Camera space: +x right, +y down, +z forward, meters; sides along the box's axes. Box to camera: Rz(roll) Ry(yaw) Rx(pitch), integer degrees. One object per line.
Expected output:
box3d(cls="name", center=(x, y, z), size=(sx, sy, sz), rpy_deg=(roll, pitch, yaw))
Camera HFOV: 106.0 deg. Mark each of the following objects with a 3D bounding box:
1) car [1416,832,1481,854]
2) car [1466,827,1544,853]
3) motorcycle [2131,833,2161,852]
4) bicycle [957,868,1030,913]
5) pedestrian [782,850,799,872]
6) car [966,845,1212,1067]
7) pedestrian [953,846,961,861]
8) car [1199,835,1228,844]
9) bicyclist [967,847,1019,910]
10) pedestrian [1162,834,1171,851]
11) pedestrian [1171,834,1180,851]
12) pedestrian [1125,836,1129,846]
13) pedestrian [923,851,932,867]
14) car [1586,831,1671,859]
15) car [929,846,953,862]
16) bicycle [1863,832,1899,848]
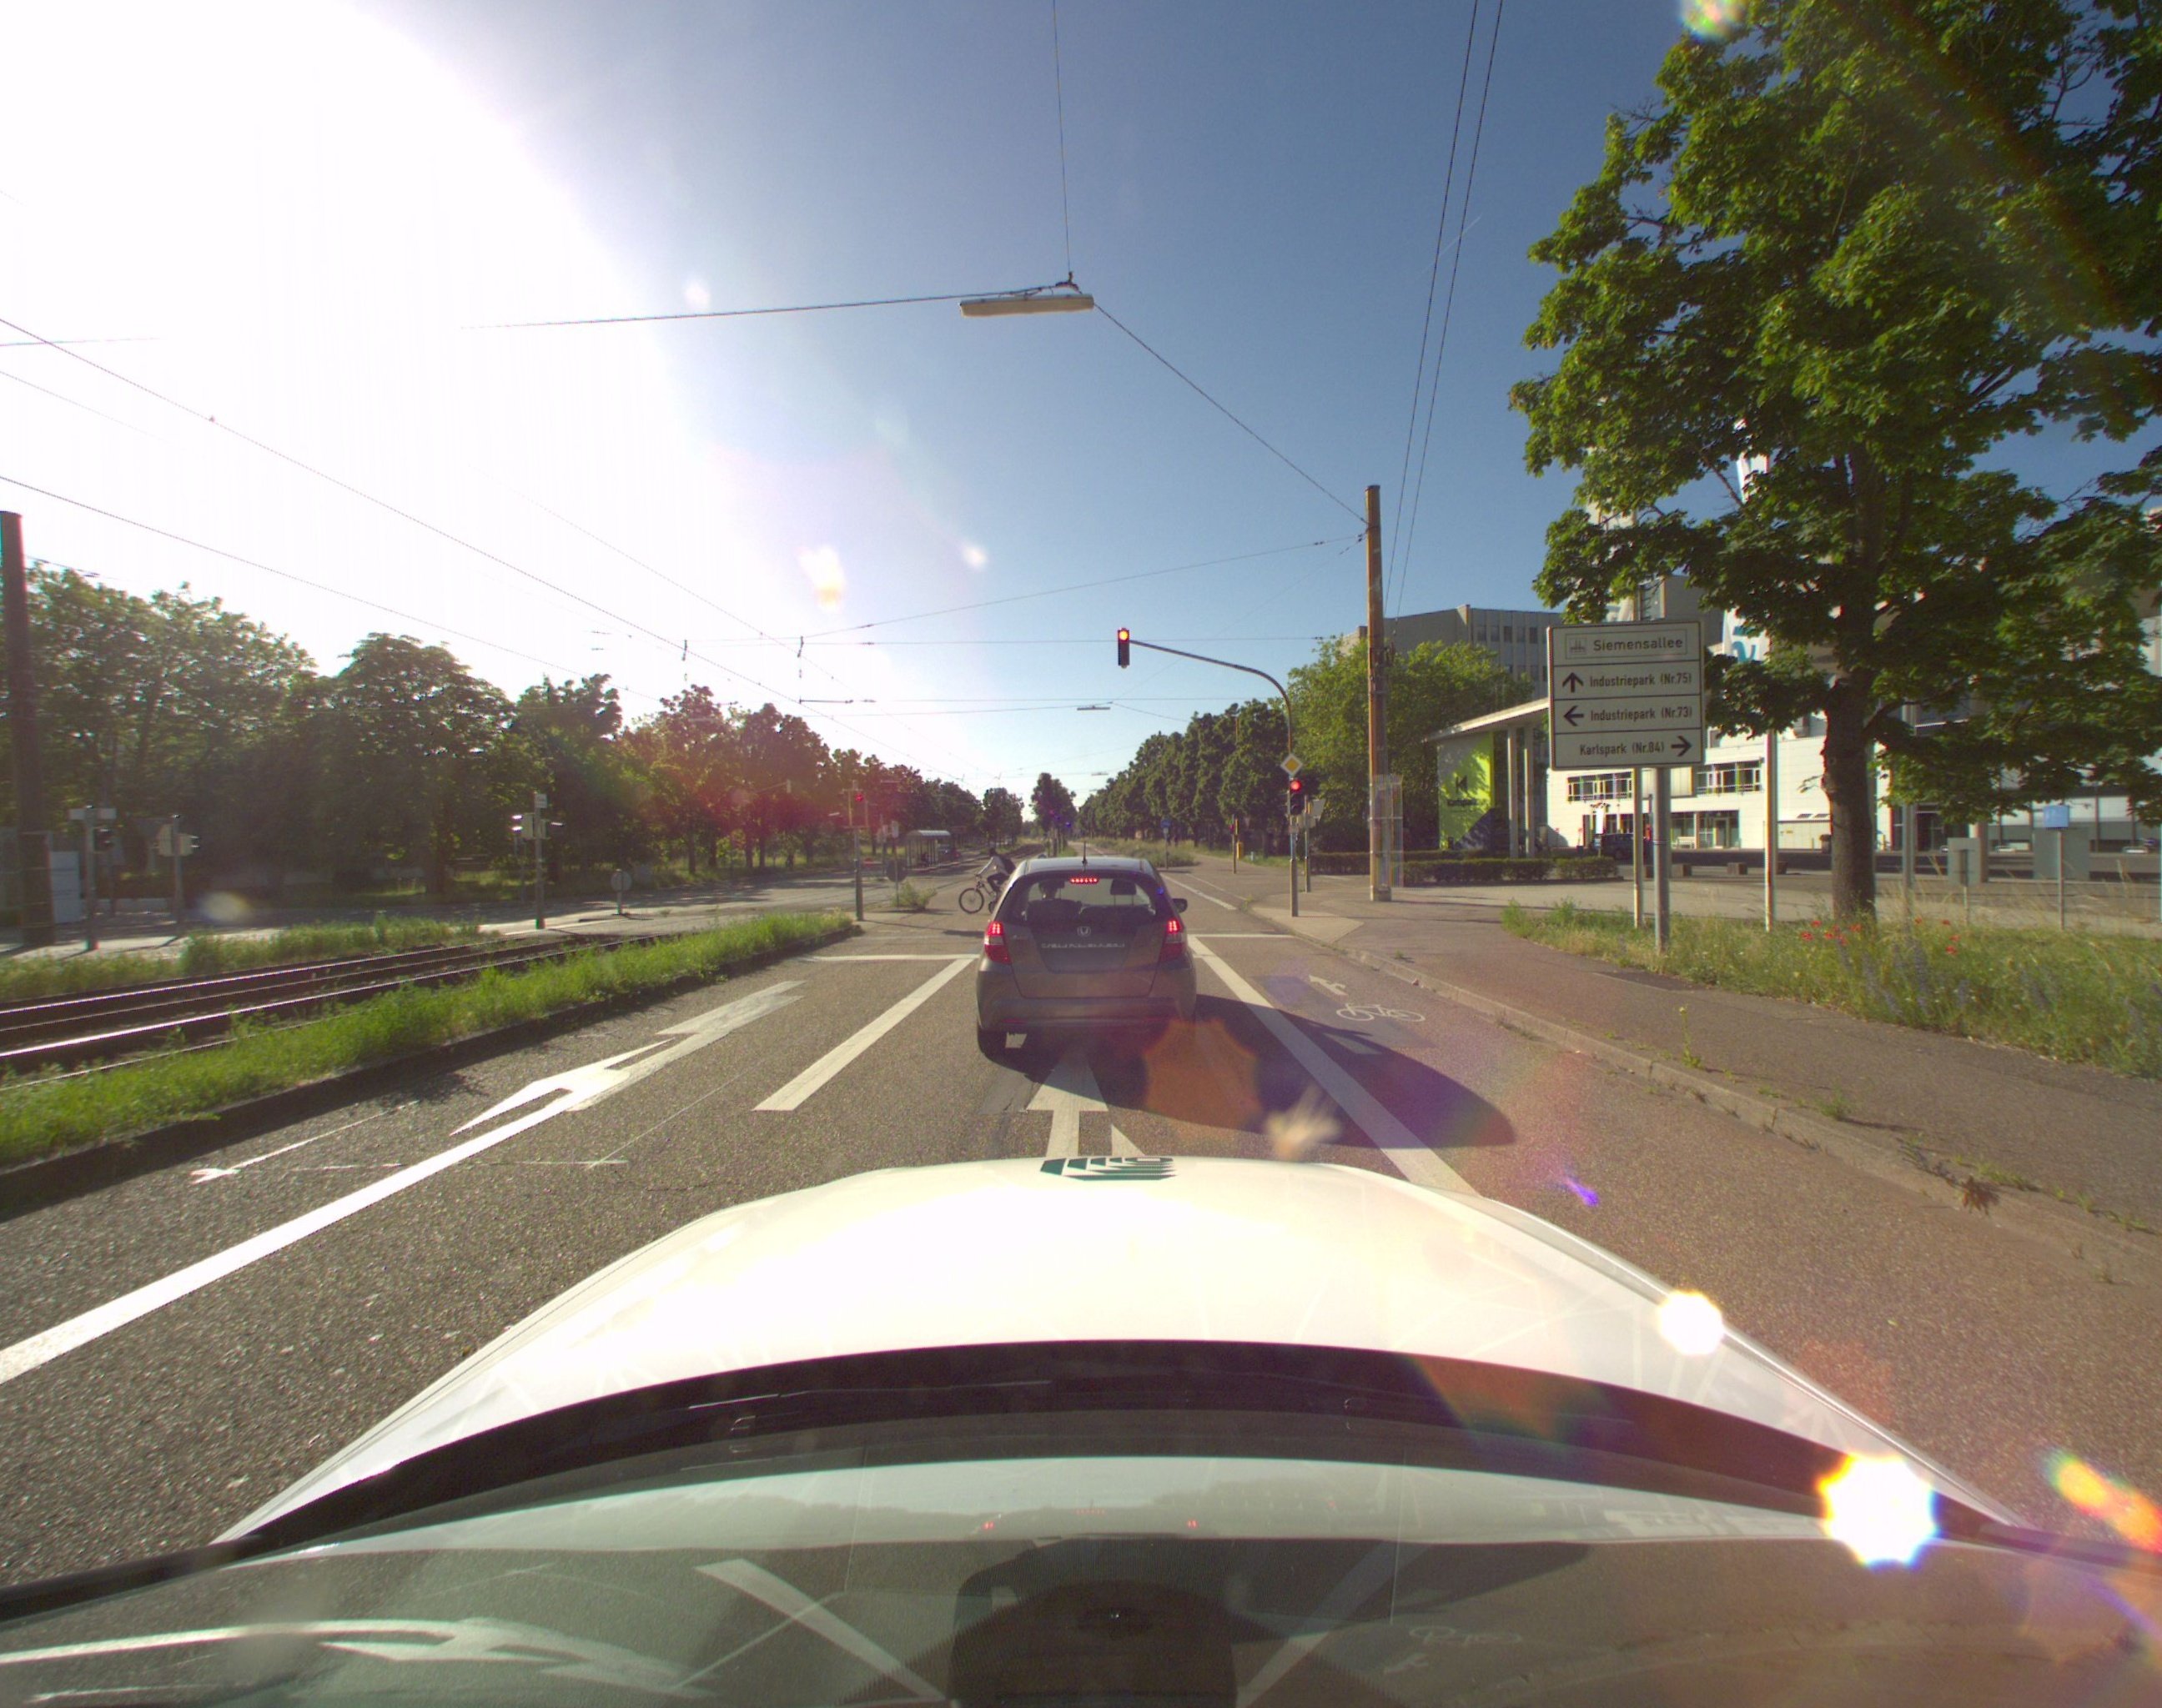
box3d(cls="car", center=(30.044, -0.921, 66.648), size=(4.448, 1.686, 1.892), rpy_deg=(-2, 1, -4))
box3d(cls="car", center=(31.106, -1.046, 59.756), size=(4.888, 1.757, 2.082), rpy_deg=(-2, 1, -14))
box3d(cls="motorcycle", center=(54.661, -0.584, 41.242), size=(0.652, 0.947, 1.727), rpy_deg=(-2, 1, -13))
box3d(cls="bicycle", center=(-2.254, 0.935, 21.089), size=(1.769, 1.102, 0.699), rpy_deg=(-1, 0, 0))
box3d(cls="pedestrian", center=(-24.092, 0.589, 67.555), size=(0.751, 1.734, 0.943), rpy_deg=(-1, 1, 30))
box3d(cls="car", center=(0.113, 0.711, 7.519), size=(1.694, 1.524, 3.711), rpy_deg=(-1, 0, 2))
box3d(cls="pedestrian", center=(-12.268, -0.045, 80.559), size=(0.542, 1.447, 0.559), rpy_deg=(-2, 0, 1))
box3d(cls="car", center=(23.483, -2.546, 144.240), size=(4.623, 1.555, 1.997), rpy_deg=(-2, 1, -5))
box3d(cls="bicyclist", center=(-2.260, 0.622, 21.057), size=(1.228, 1.593, 0.805), rpy_deg=(-1, 0, 0))
box3d(cls="pedestrian", center=(9.754, -1.270, 92.668), size=(0.880, 1.884, 0.875), rpy_deg=(-2, 1, -2))
box3d(cls="pedestrian", center=(10.764, -1.283, 92.866), size=(0.880, 1.884, 0.875), rpy_deg=(-2, 1, -2))
box3d(cls="pedestrian", center=(7.947, -2.190, 140.241), size=(0.723, 1.690, 0.820), rpy_deg=(-1, -1, -1))
box3d(cls="pedestrian", center=(-12.446, 0.382, 65.990), size=(0.562, 1.257, 0.581), rpy_deg=(-4, 0, 1))
box3d(cls="car", center=(33.320, -0.565, 49.626), size=(3.984, 1.578, 1.949), rpy_deg=(-1, 0, -8))
box3d(cls="car", center=(-18.217, -0.041, 106.203), size=(2.087, 1.810, 4.792), rpy_deg=(-3, 1, 0))
box3d(cls="bicycle", center=(52.269, -0.895, 53.229), size=(0.565, 1.004, 1.614), rpy_deg=(-2, 1, -13))
